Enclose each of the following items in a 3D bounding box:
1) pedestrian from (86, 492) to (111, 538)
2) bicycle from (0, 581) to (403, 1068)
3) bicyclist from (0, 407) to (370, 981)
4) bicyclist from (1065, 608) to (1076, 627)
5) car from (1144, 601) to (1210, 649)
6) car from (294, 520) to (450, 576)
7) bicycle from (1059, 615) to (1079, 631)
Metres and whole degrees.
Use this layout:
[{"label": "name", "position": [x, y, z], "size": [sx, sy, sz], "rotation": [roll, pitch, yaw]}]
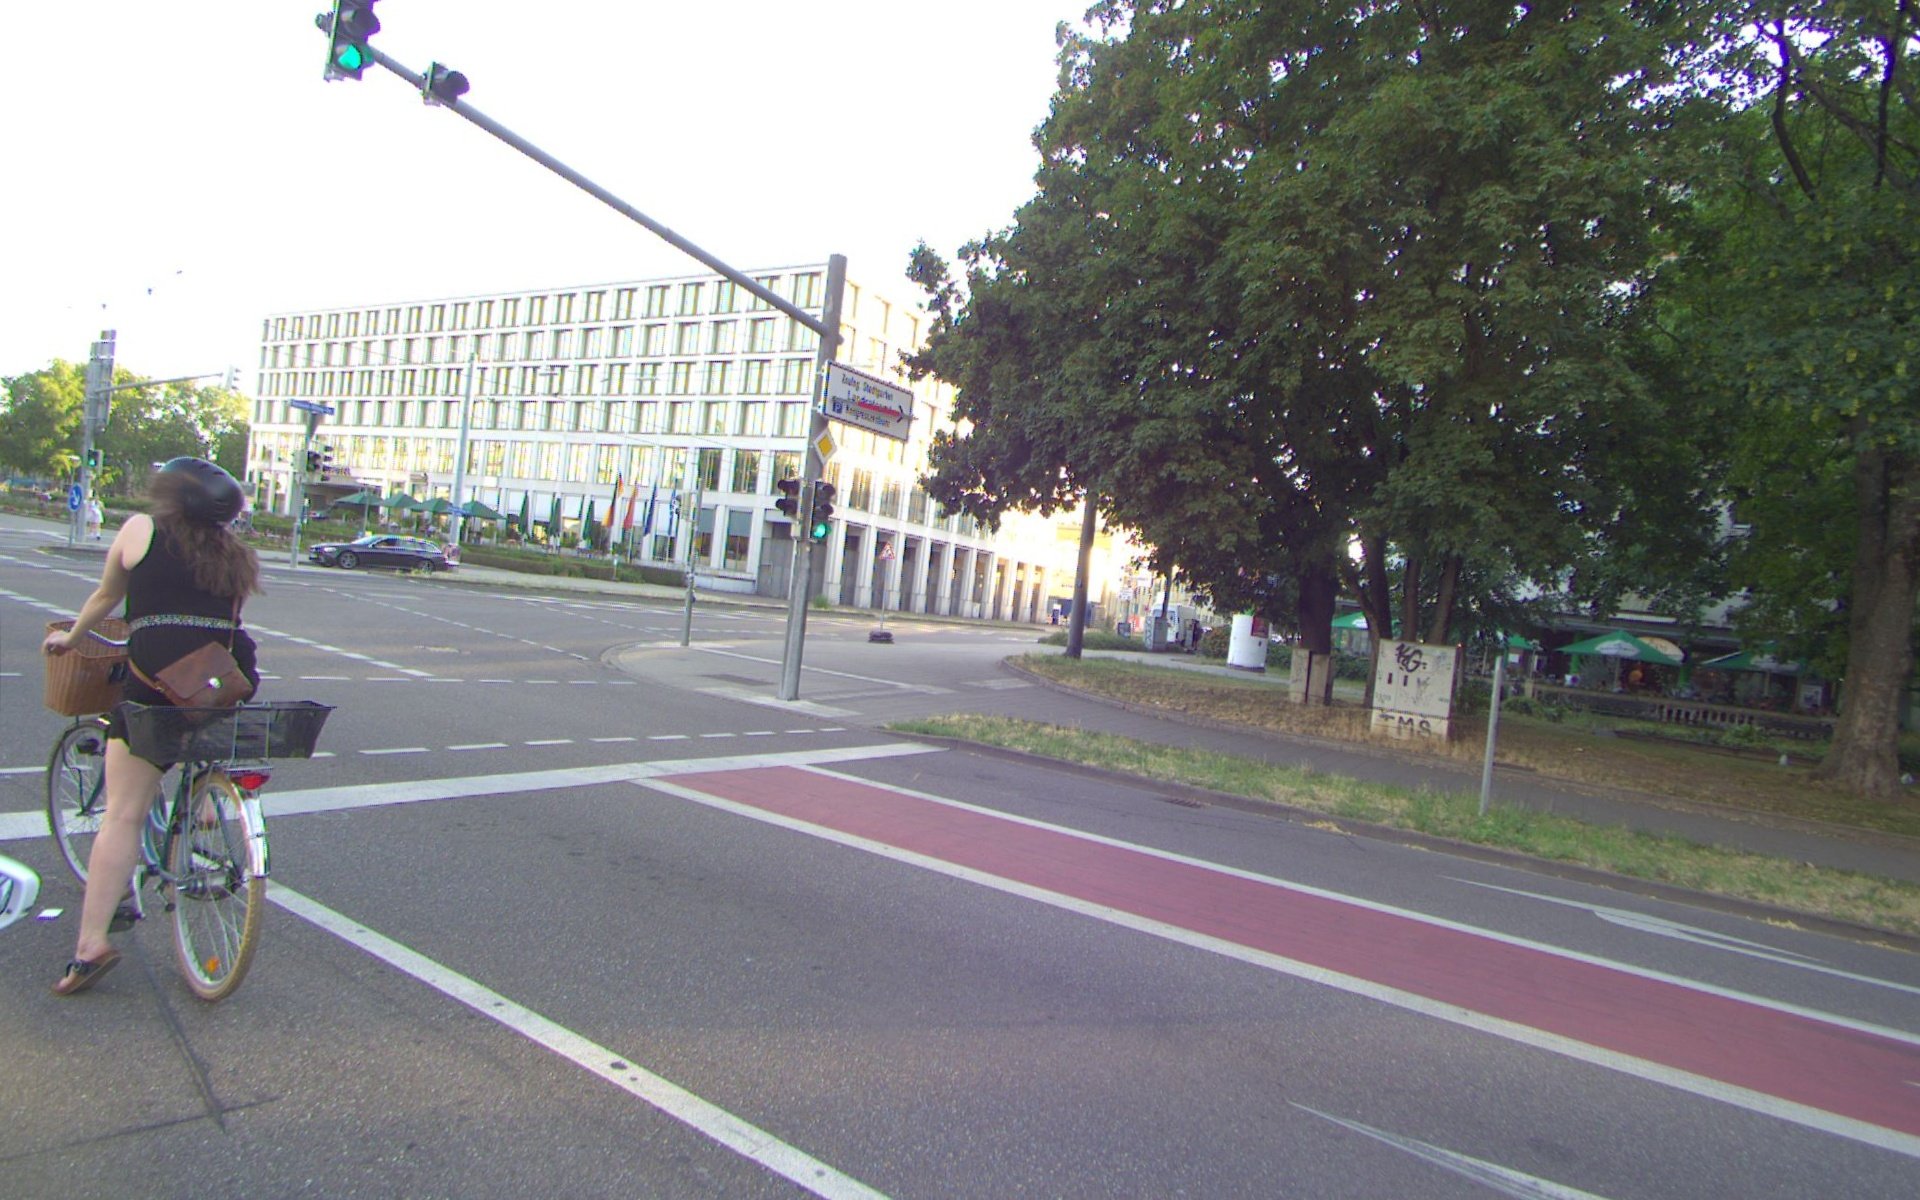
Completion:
[{"label": "pedestrian", "position": [-31.109, -3.072, 36.338], "size": [0.402, 1.559, 0.491], "rotation": [7, 2, 31]}, {"label": "bicycle", "position": [-2.840, 0.611, 3.473], "size": [1.971, 1.146, 0.612], "rotation": [7, -1, 32]}, {"label": "bicyclist", "position": [-2.666, 0.247, 3.399], "size": [0.982, 1.655, 0.600], "rotation": [7, 0, 32]}, {"label": "bicyclist", "position": [9.514, 1.496, 86.570], "size": [0.567, 1.556, 0.708], "rotation": [7, 1, 30]}, {"label": "car", "position": [12.028, 1.412, 55.540], "size": [1.967, 2.318, 4.605], "rotation": [7, 0, 31]}, {"label": "car", "position": [-22.982, -1.989, 39.522], "size": [1.968, 1.534, 4.826], "rotation": [7, 0, 34]}, {"label": "bicycle", "position": [9.333, 1.975, 86.041], "size": [0.592, 1.120, 2.775], "rotation": [7, 0, 29]}]
